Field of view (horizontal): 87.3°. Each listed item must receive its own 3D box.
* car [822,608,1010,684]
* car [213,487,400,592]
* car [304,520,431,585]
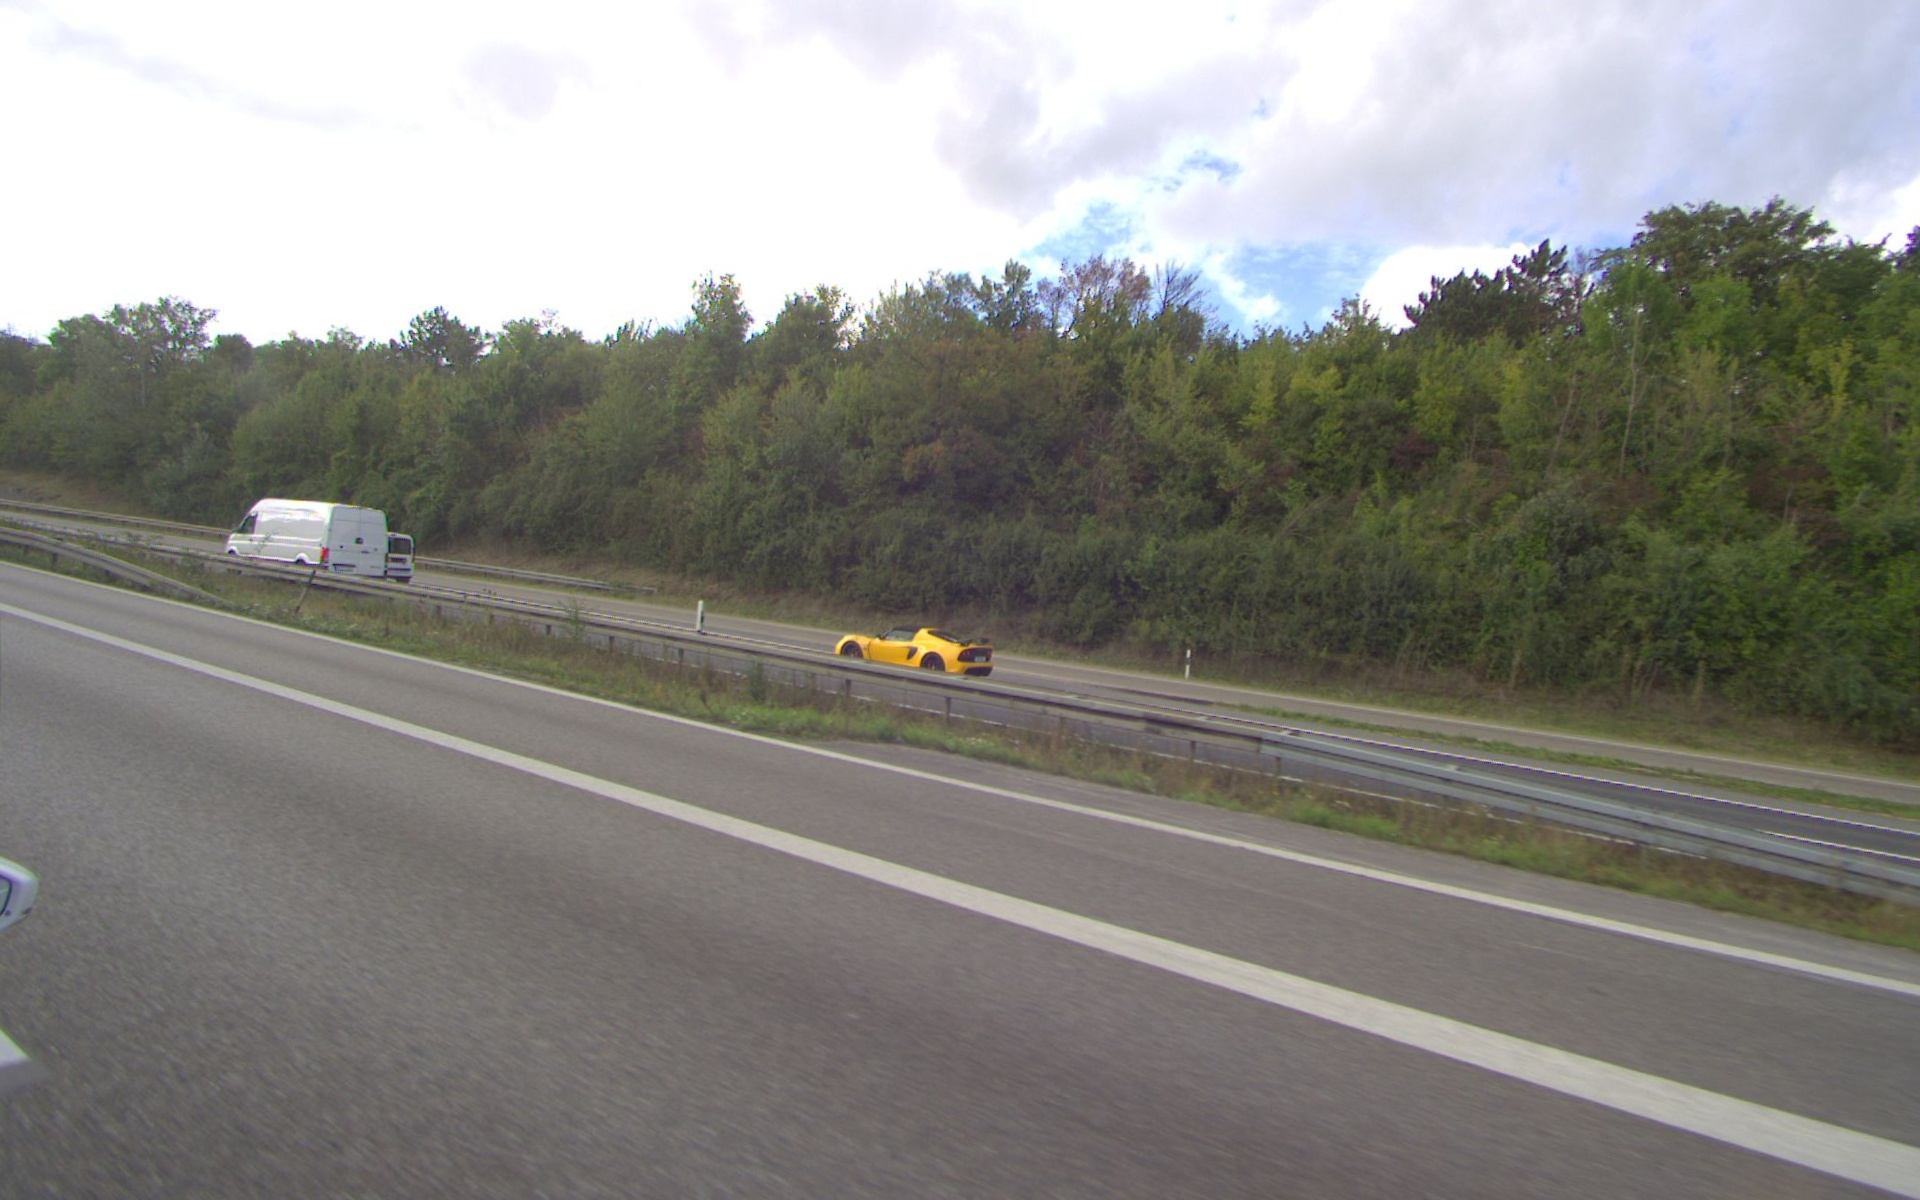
[{"bbox_3d":[-1.080,1.084,23.848,4.099,1.195,1.715,7,-1,31],"label":"car"},{"bbox_3d":[-20.650,-1.938,31.670,6.630,2.586,2.072,7,1,31],"label":"car"},{"bbox_3d":[-21.552,-1.750,36.559,4.685,1.772,1.846,7,-1,32],"label":"car"}]
